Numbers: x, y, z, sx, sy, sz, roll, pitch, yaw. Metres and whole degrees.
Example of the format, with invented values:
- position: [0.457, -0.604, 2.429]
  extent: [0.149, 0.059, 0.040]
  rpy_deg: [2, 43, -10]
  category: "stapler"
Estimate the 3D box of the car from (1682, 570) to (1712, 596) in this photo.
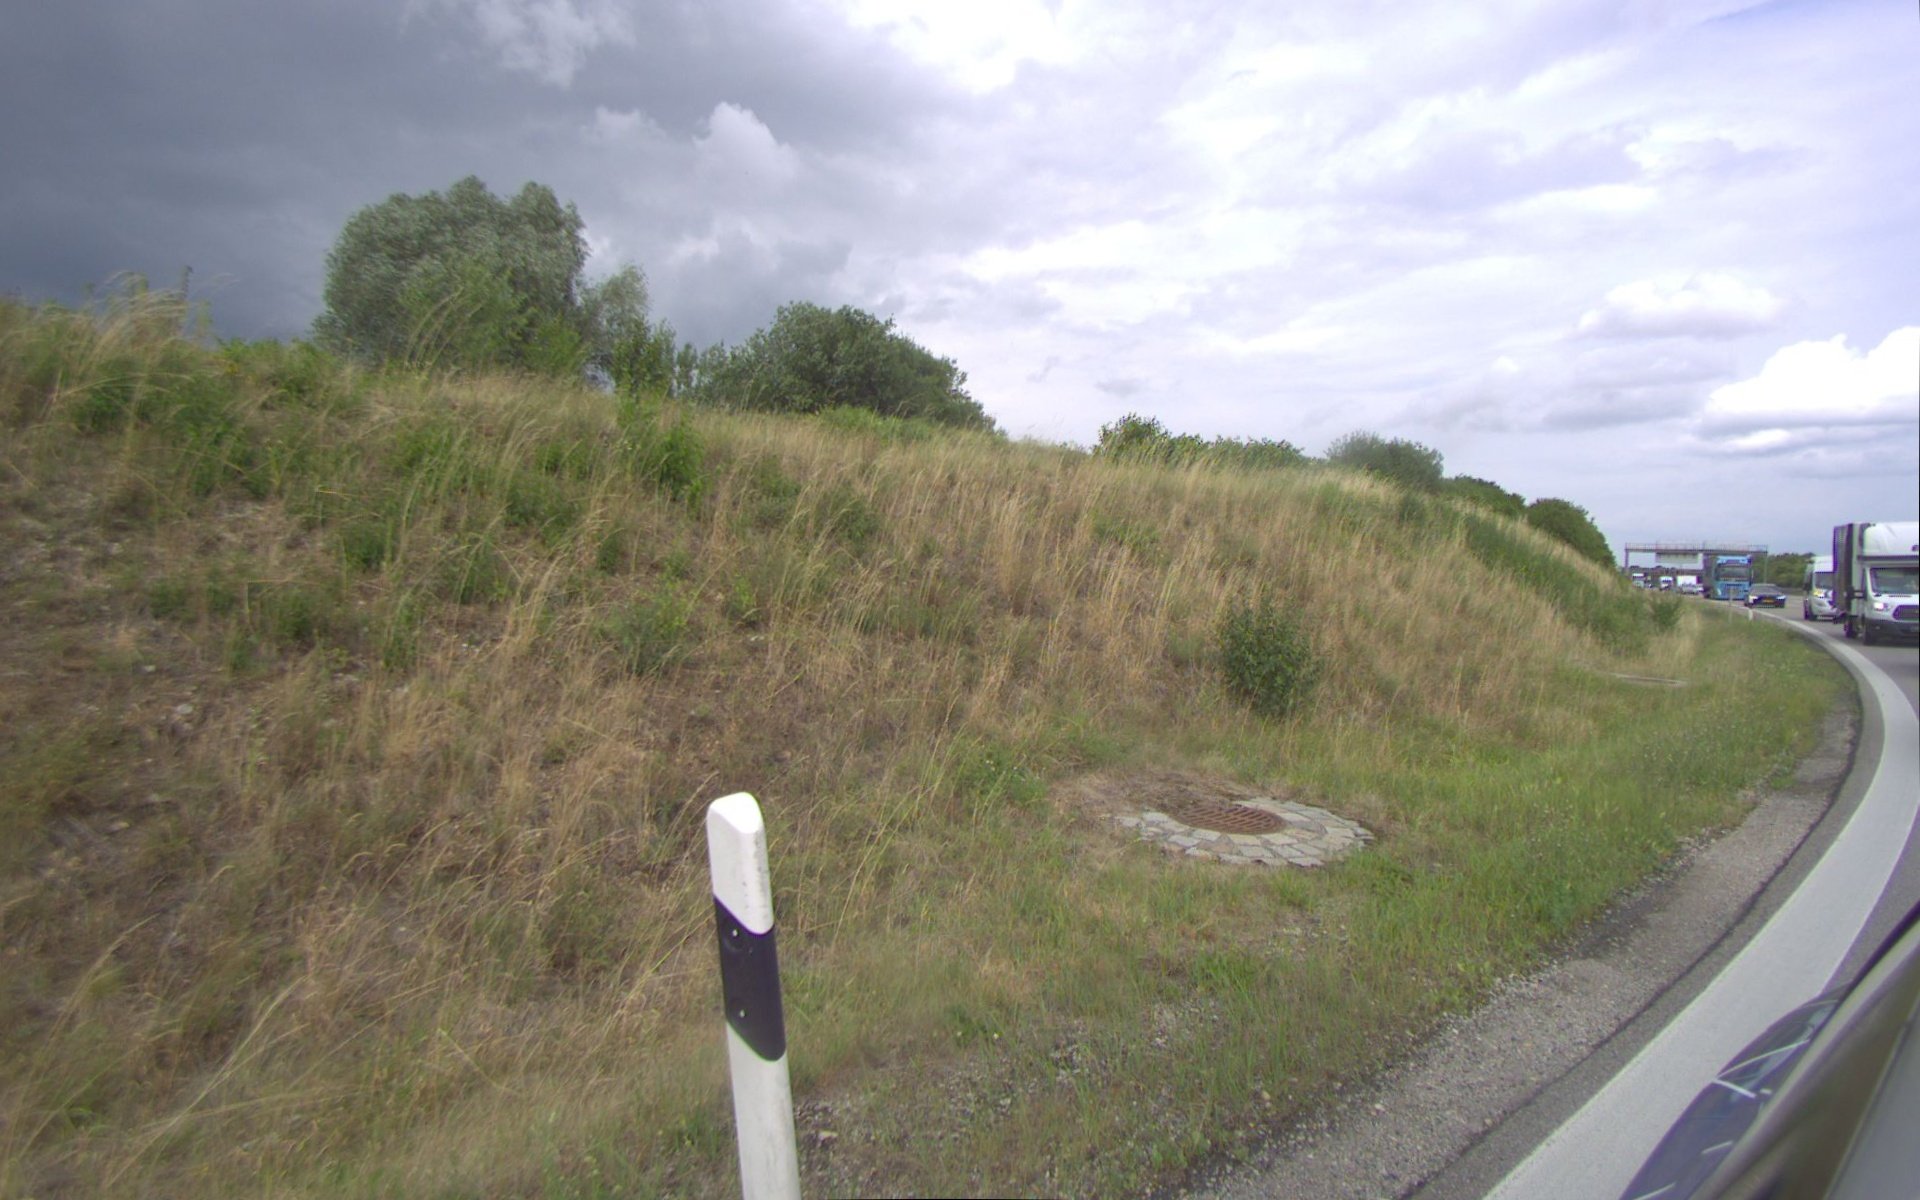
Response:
- position: [100.575, -2.342, 138.244]
  extent: [2.927, 3.509, 6.493]
  rpy_deg: [1, 2, 33]
  category: "car"

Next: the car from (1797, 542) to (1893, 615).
- position: [36.760, -0.913, 42.227]
  extent: [2.007, 2.779, 6.847]
  rpy_deg: [1, 2, 33]
  category: "car"

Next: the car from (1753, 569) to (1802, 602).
- position: [51.673, -0.952, 64.048]
  extent: [1.986, 2.038, 3.952]
  rpy_deg: [2, 2, 34]
  category: "car"

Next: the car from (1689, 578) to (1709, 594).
- position: [96.926, -1.905, 132.738]
  extent: [1.918, 2.057, 3.951]
  rpy_deg: [2, 2, 34]
  category: "car"

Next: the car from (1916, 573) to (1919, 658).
- position: [18.046, 0.346, 17.216]
  extent: [1.987, 1.595, 3.950]
  rpy_deg: [1, 2, 35]
  category: "car"

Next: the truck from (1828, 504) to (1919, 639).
- position: [25.501, -0.743, 27.183]
  extent: [2.434, 3.275, 7.104]
  rpy_deg: [1, 2, 34]
  category: "truck"

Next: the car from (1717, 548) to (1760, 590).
- position: [71.025, -2.819, 92.430]
  extent: [2.488, 3.757, 7.611]
  rpy_deg: [1, 2, 33]
  category: "car"
